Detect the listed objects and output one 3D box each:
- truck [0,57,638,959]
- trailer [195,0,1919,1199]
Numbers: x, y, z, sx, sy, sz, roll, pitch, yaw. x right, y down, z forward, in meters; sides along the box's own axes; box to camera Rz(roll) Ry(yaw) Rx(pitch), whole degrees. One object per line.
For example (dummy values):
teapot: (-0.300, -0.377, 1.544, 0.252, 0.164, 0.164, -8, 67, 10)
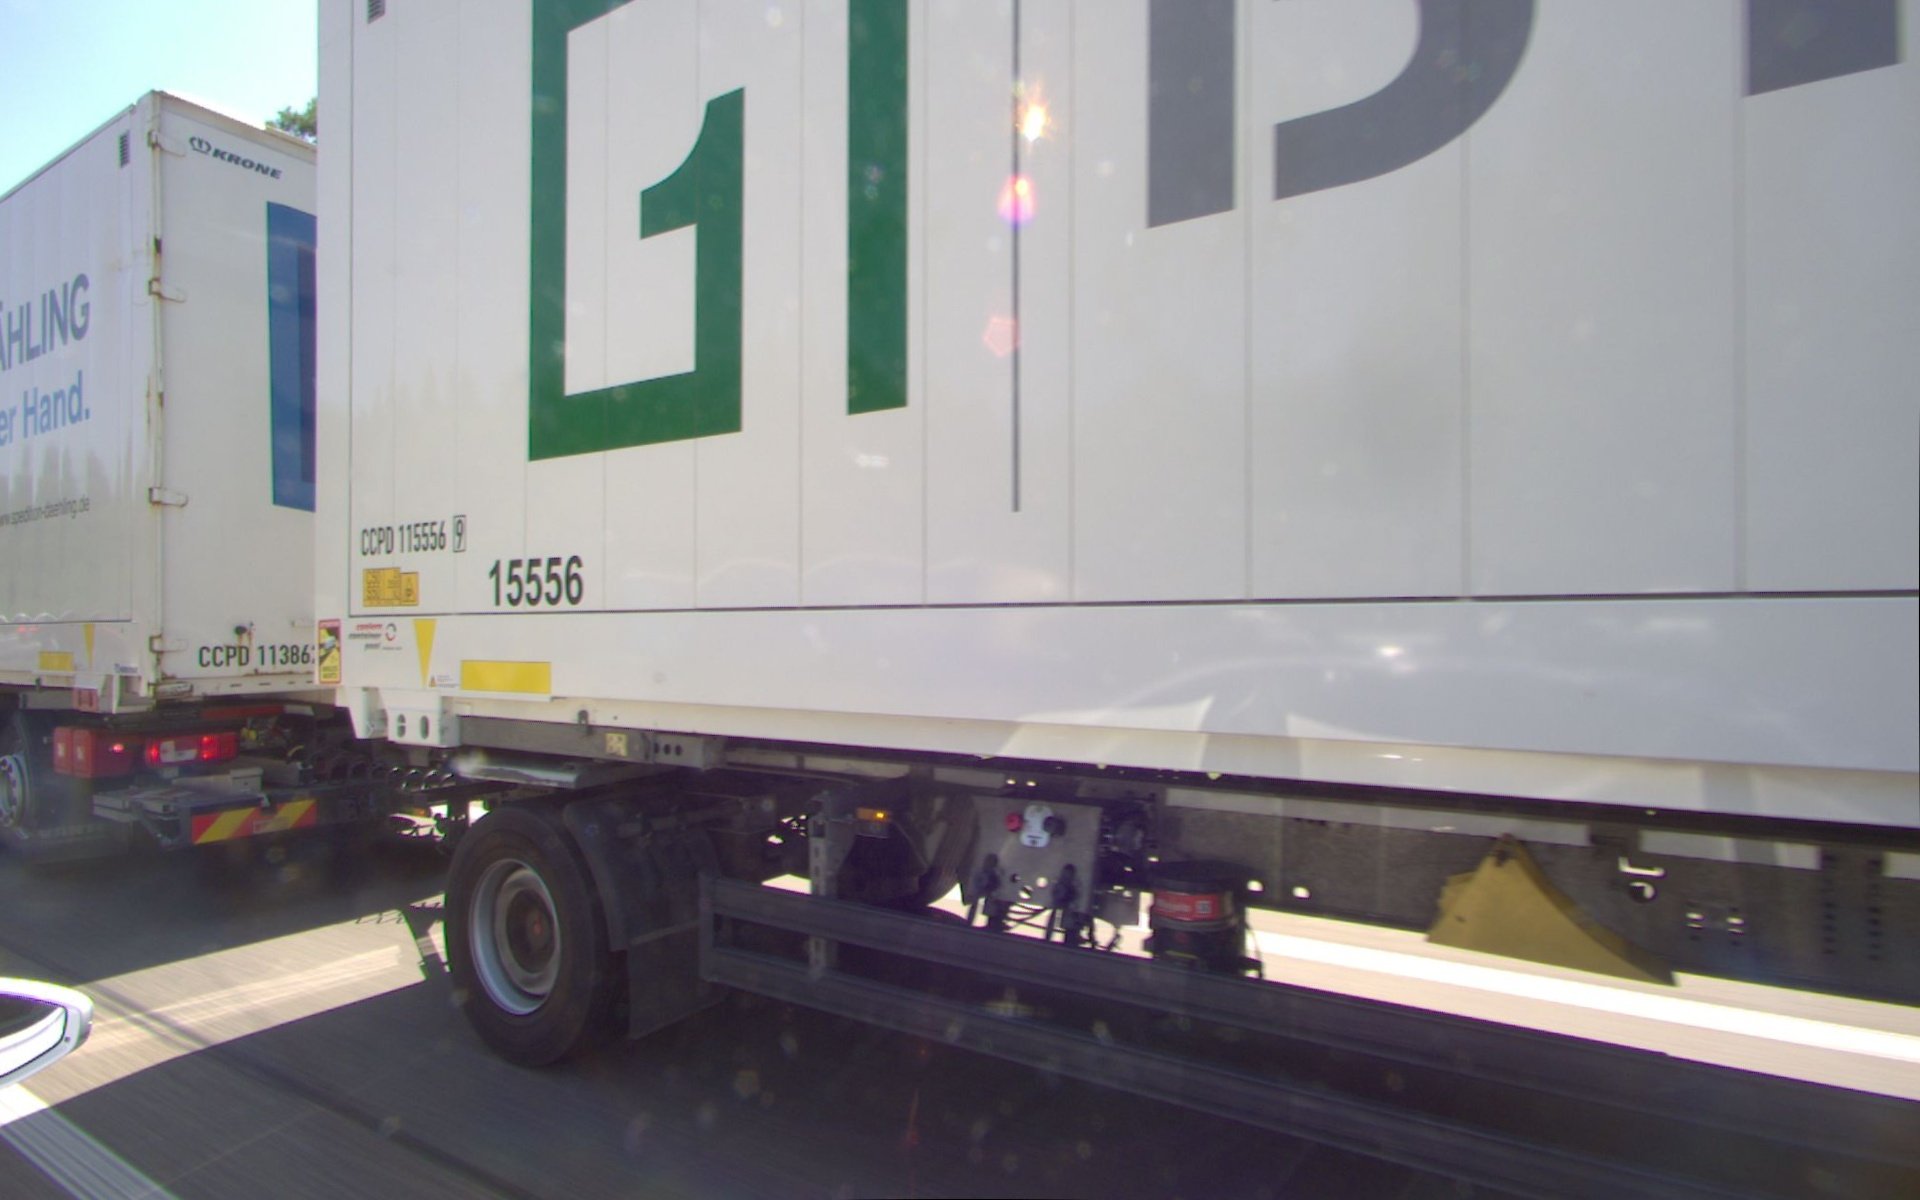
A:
truck: (-7.364, -0.362, 8.474, 10.471, 4.112, 2.676, 0, -1, 32)
trailer: (1.583, -0.495, 2.893, 9.919, 4.229, 2.676, 0, -1, 32)
